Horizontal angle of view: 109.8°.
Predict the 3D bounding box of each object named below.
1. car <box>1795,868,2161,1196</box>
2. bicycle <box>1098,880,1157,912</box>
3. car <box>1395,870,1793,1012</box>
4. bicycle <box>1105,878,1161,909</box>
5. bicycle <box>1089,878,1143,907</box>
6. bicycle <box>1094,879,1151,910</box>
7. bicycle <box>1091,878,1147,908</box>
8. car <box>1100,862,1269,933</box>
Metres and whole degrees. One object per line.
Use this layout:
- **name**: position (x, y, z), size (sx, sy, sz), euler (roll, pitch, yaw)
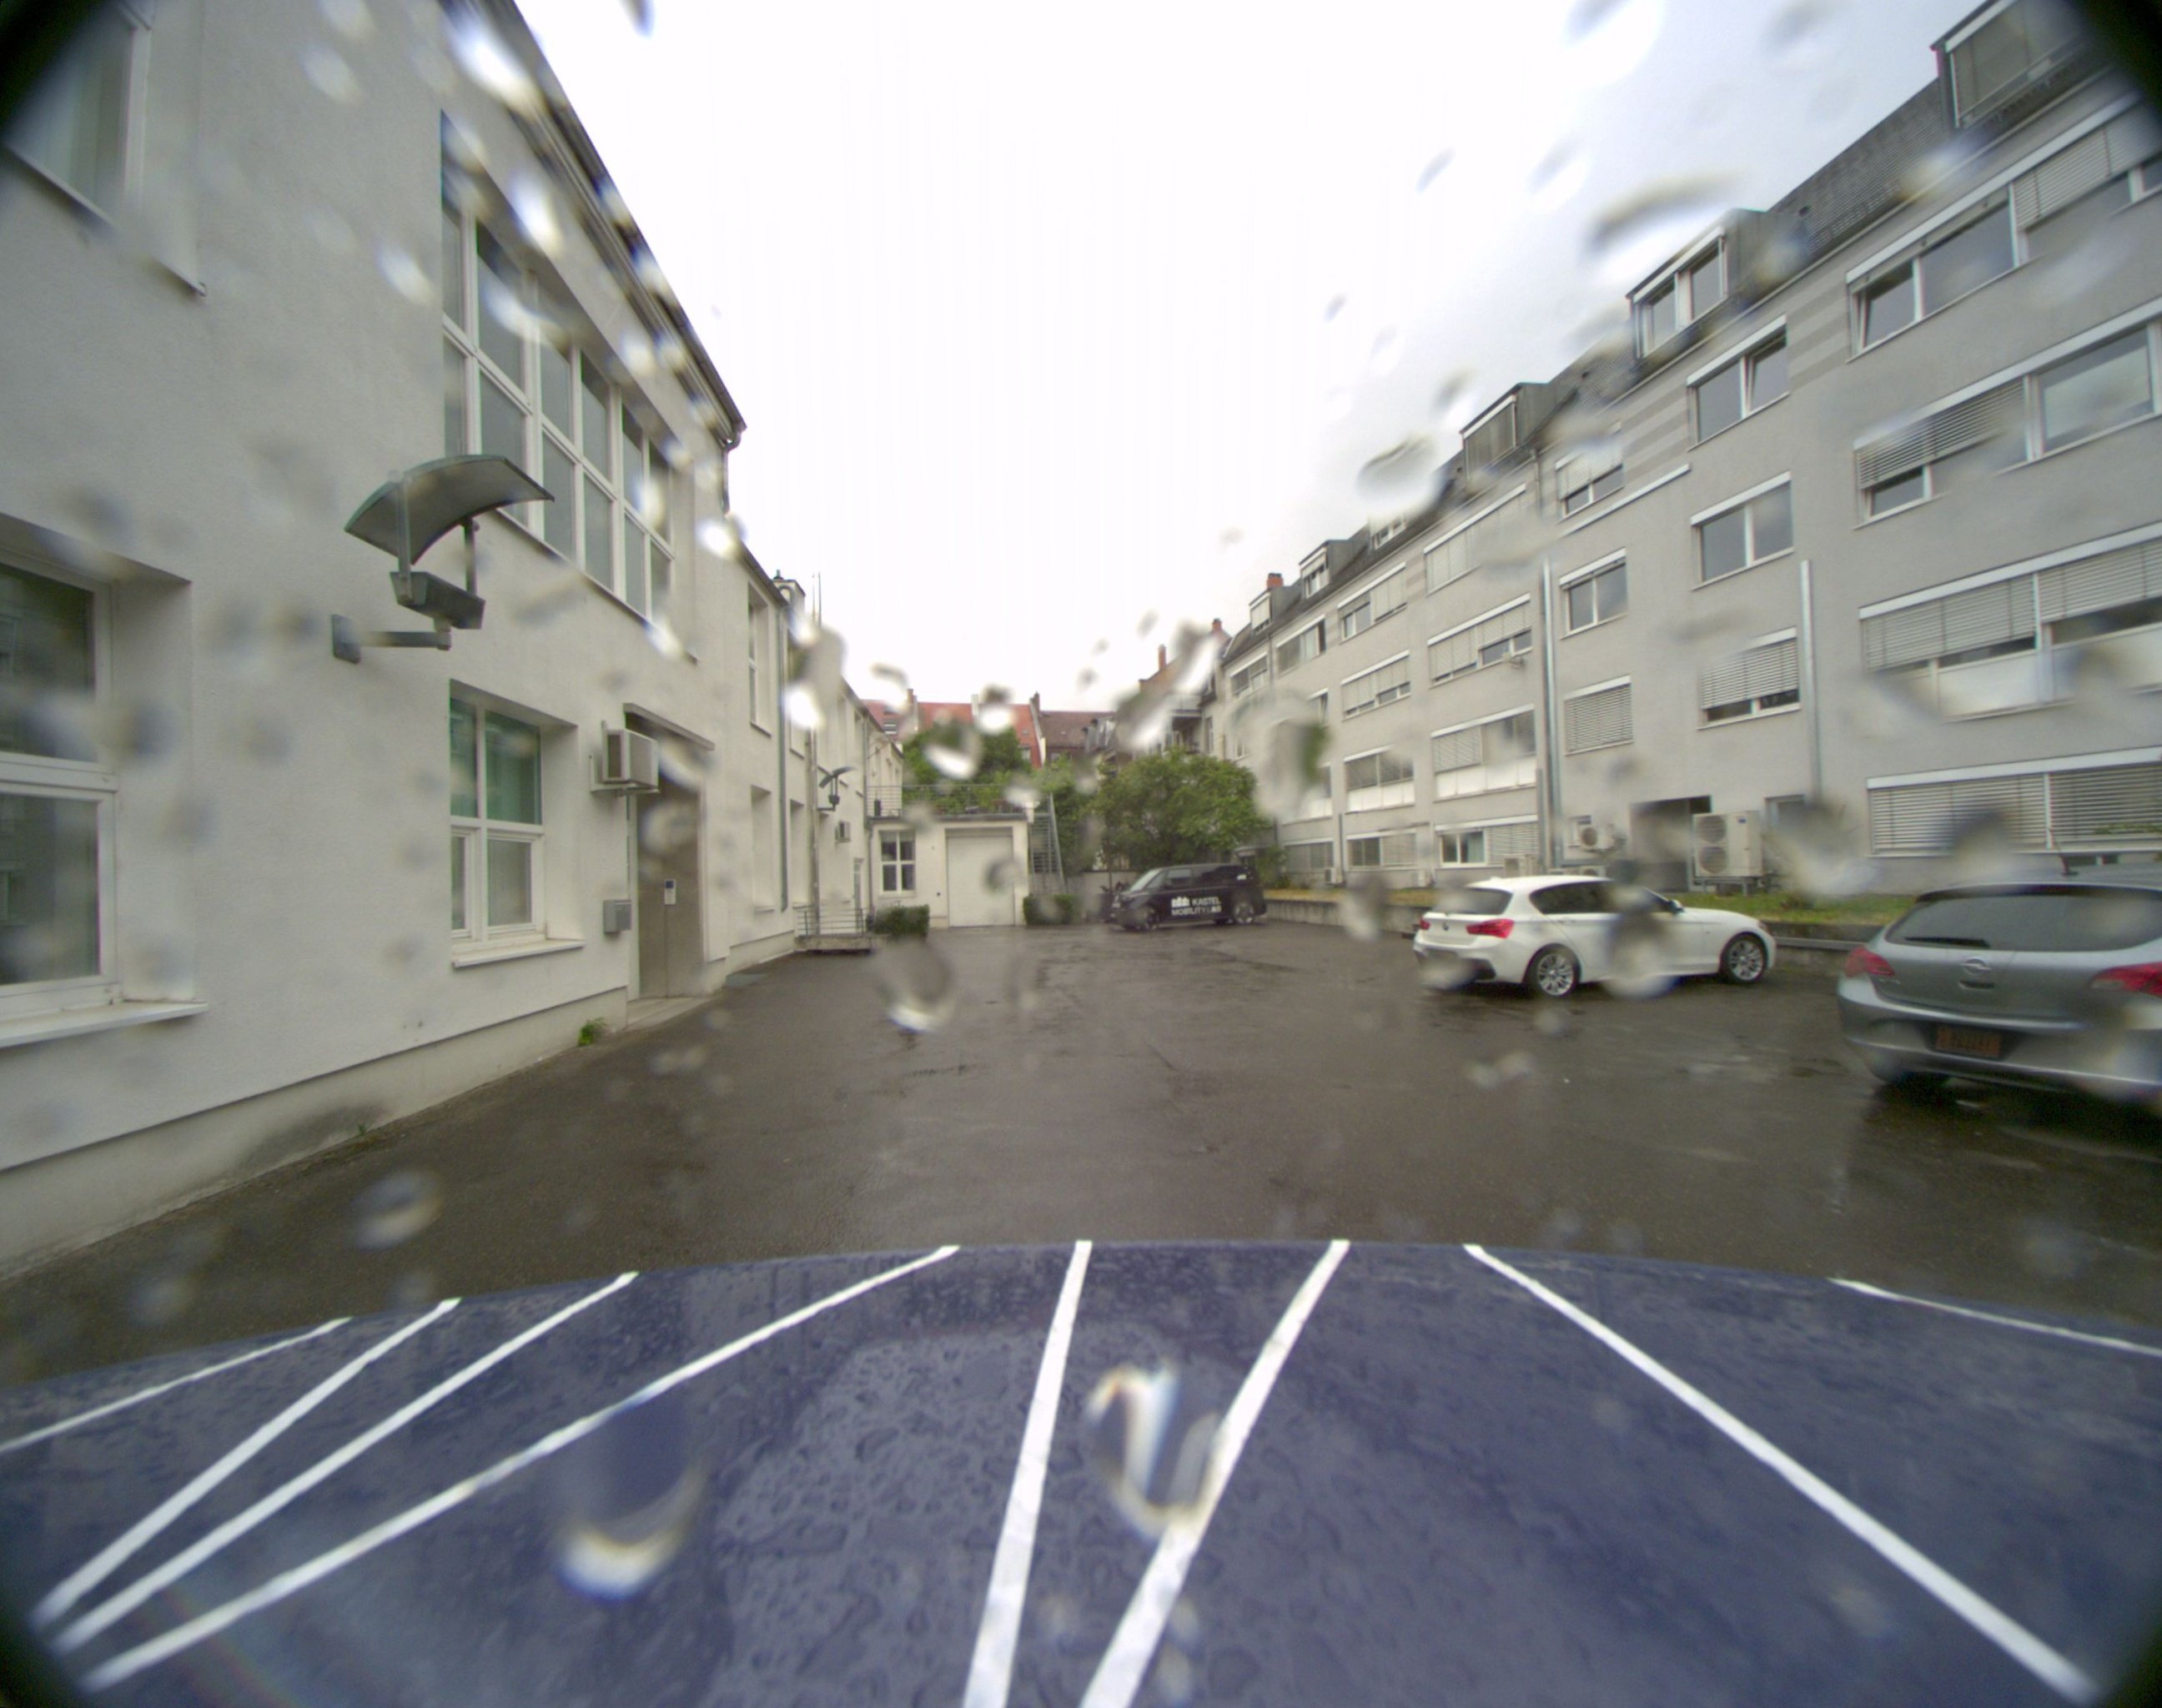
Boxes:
- **car**: position (7.056, 0.851, 4.607), size (4.180, 1.474, 1.821), euler (-2, -2, -11)
- **bicycle**: position (1.927, 1.741, 31.546), size (2.320, 1.179, 0.643), euler (-2, 1, -6)
- **car**: position (6.416, 0.993, 9.680), size (4.153, 1.425, 1.752), euler (-2, -1, -11)
- **bicycle**: position (2.234, 1.705, 33.051), size (2.320, 1.179, 0.643), euler (-2, 1, -6)
- **bicycle**: position (1.547, 1.713, 34.117), size (2.320, 1.179, 0.643), euler (-2, 1, -6)
- **bicycle**: position (1.759, 1.734, 32.330), size (2.320, 1.179, 0.643), euler (-2, 1, -6)
- **bicycle**: position (1.666, 1.718, 33.495), size (2.320, 1.179, 0.643), euler (-2, 1, -6)
- **car**: position (3.106, 1.301, 23.220), size (4.633, 1.825, 1.987), euler (-2, -2, -14)
